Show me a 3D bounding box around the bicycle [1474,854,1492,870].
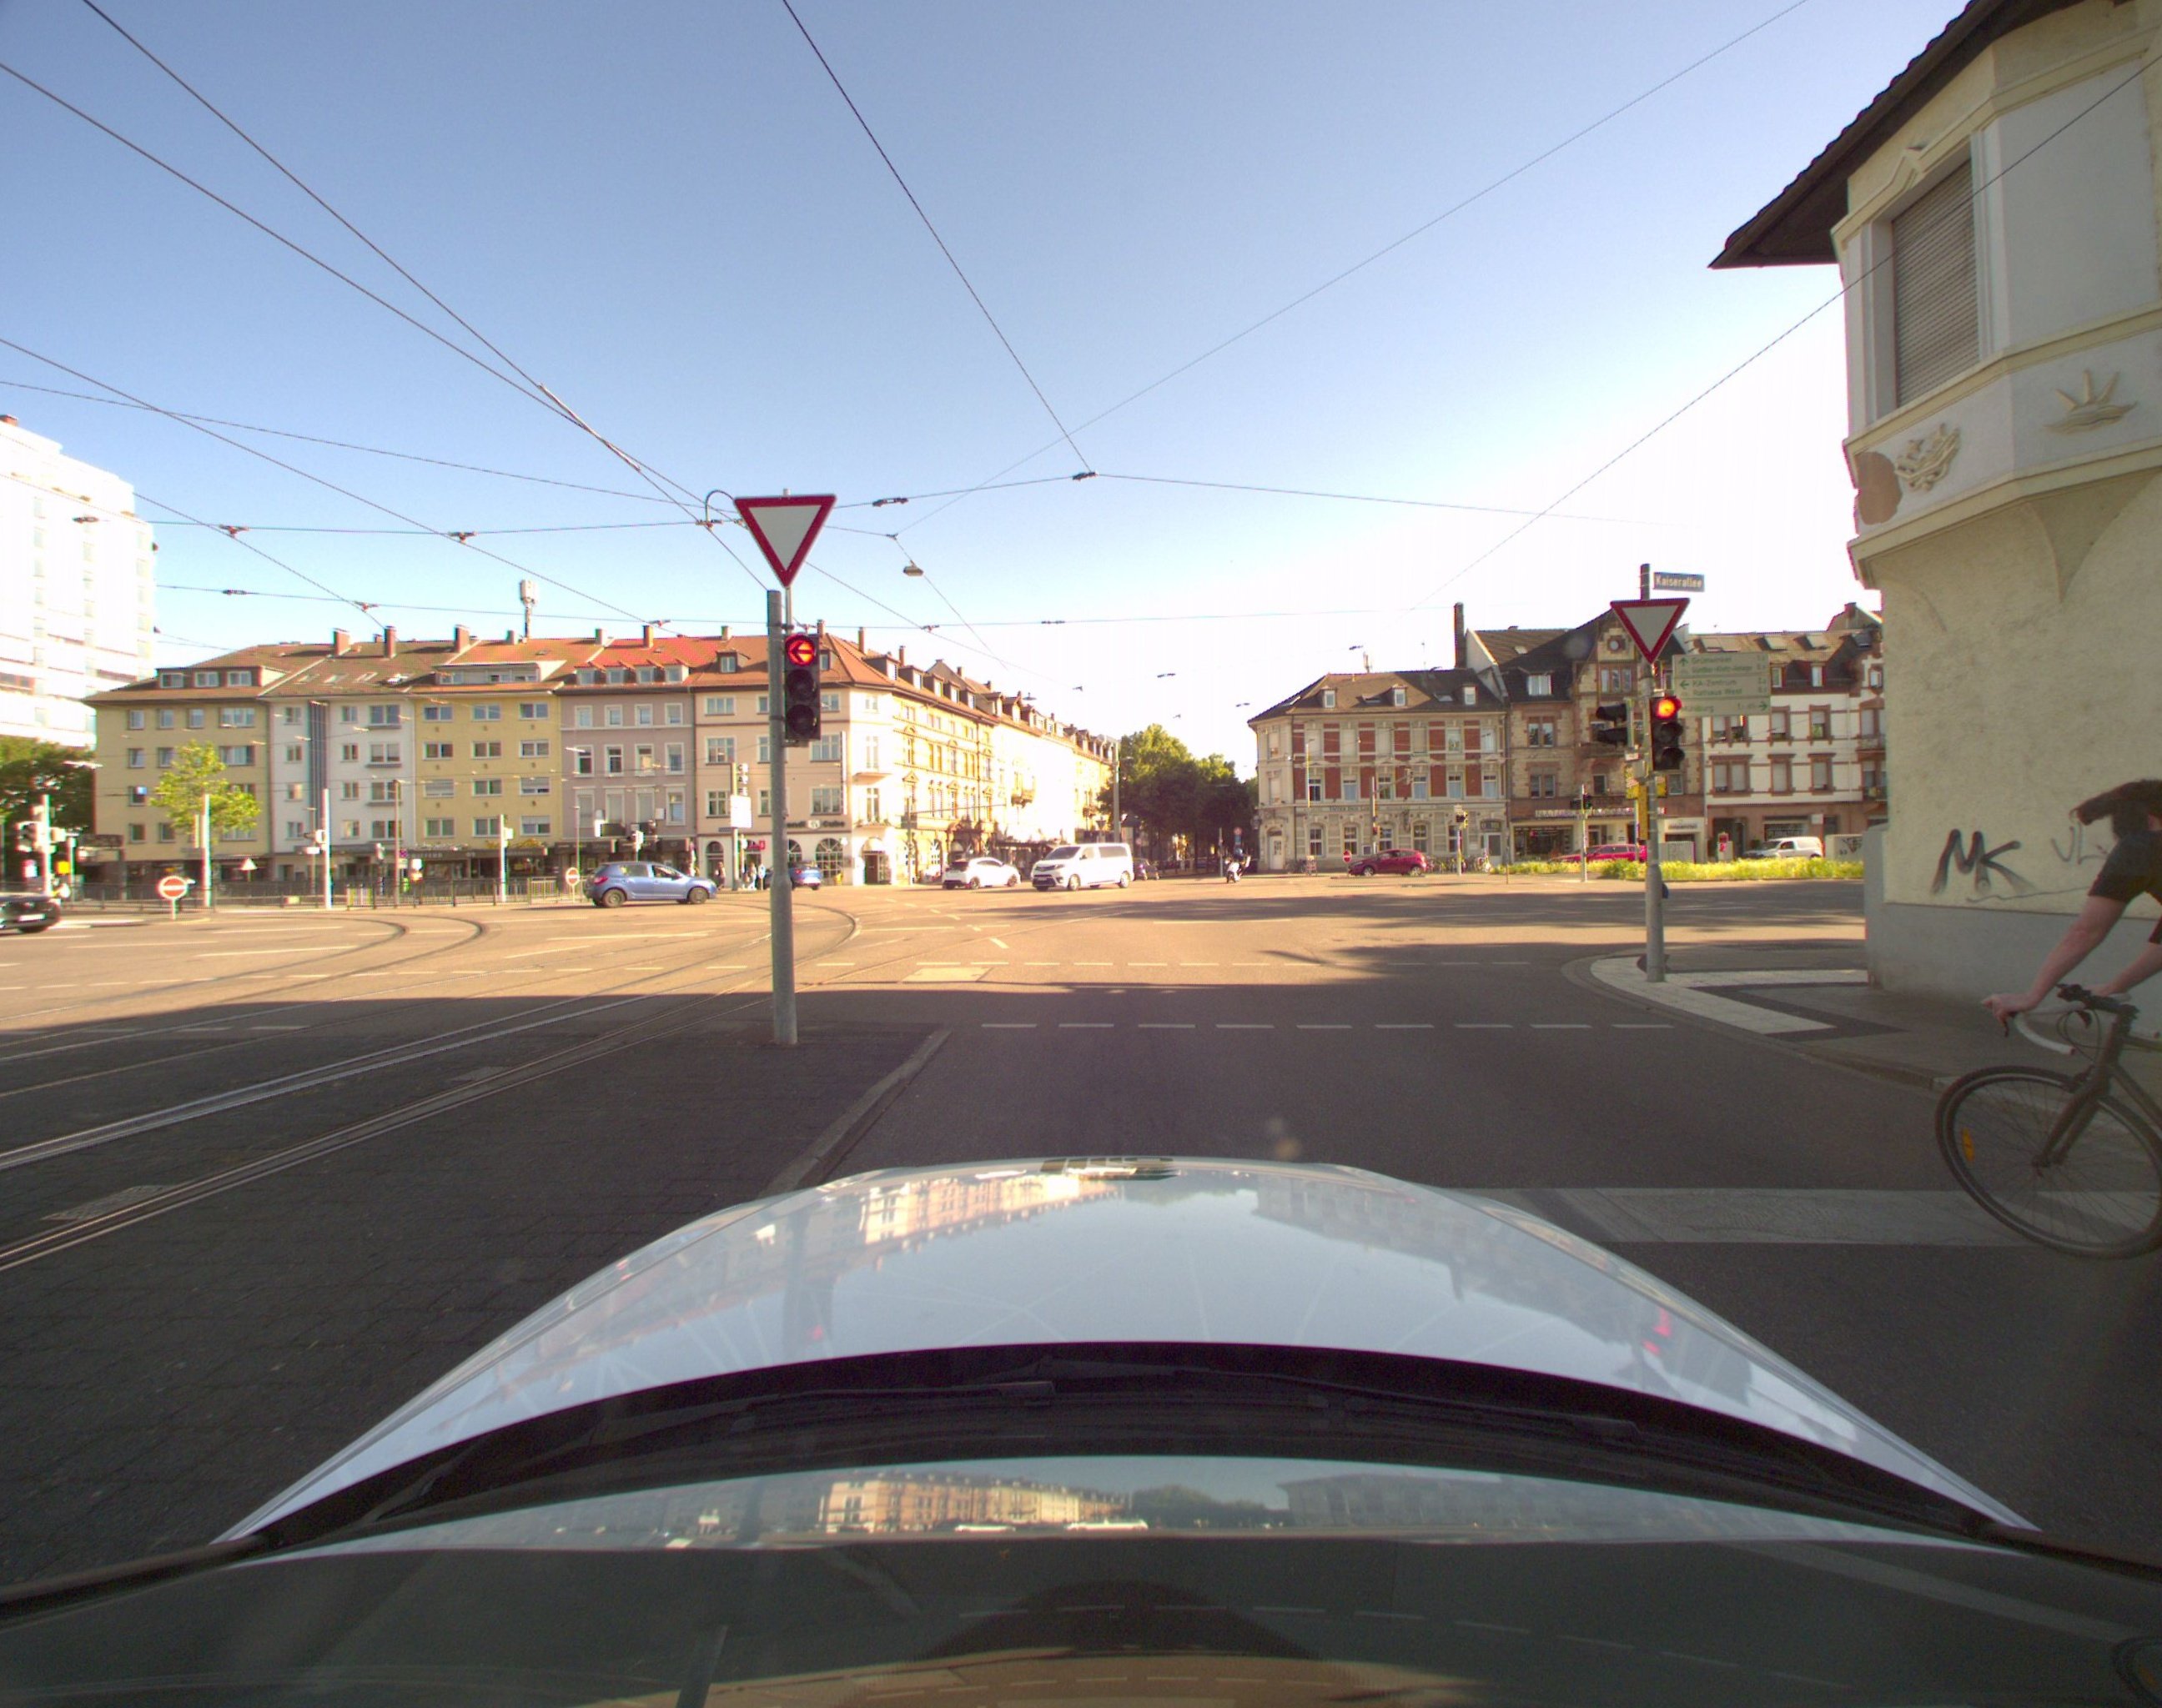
[{"bbox_3d":[26.022,0.530,52.710,0.785,1.016,2.221,-1,-1,20],"label":"bicycle"}]

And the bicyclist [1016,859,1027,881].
[{"bbox_3d":[-4.785,1.270,65.368,0.561,1.804,0.918,-1,-1,17],"label":"bicyclist"}]

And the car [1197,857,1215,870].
[{"bbox_3d":[17.872,1.345,116.386,1.978,1.684,4.018,-1,-1,17],"label":"car"}]

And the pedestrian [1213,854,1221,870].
[{"bbox_3d":[17.414,1.071,104.383,0.941,2.014,0.826,0,-1,-1],"label":"pedestrian"}]

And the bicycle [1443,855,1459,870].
[{"bbox_3d":[24.043,0.560,52.984,0.758,0.983,2.221,-1,-1,20],"label":"bicycle"}]

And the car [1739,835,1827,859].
[{"bbox_3d":[45.182,-0.445,52.452,3.961,1.438,1.874,0,-1,5],"label":"car"}]

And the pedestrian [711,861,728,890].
[{"bbox_3d":[-20.689,1.234,46.564,0.580,1.648,0.840,0,-1,1],"label":"pedestrian"}]

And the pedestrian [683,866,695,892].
[{"bbox_3d":[-21.973,1.395,45.646,0.401,1.419,0.625,0,-1,-4],"label":"pedestrian"}]

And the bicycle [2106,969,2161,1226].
[{"bbox_3d":[4.457,0.959,2.460,0.501,0.983,1.783,0,-1,2],"label":"bicycle"}]

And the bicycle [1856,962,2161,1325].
[{"bbox_3d":[3.586,0.961,2.640,0.480,0.991,1.783,0,-1,2],"label":"bicycle"}]

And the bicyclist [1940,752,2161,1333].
[{"bbox_3d":[3.582,0.573,2.643,0.587,1.767,0.936,0,-1,2],"label":"bicyclist"}]

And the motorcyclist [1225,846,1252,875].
[{"bbox_3d":[7.183,0.311,37.140,1.023,1.300,0.780,0,-1,-42],"label":"motorcyclist"}]

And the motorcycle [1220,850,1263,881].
[{"bbox_3d":[7.335,0.512,37.091,2.154,1.333,0.787,0,-1,-42],"label":"motorcycle"}]

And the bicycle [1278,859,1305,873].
[{"bbox_3d":[14.704,0.826,56.934,1.789,0.963,0.606,-1,-1,16],"label":"bicycle"}]

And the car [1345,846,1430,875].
[{"bbox_3d":[15.890,0.339,42.330,3.854,1.426,1.596,-1,0,2],"label":"car"}]

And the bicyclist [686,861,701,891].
[{"bbox_3d":[-23.404,1.341,49.203,0.618,1.790,0.616,0,-1,7],"label":"bicyclist"}]

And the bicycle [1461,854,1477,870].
[{"bbox_3d":[25.174,0.538,52.861,0.758,1.007,2.231,-1,-1,20],"label":"bicycle"}]

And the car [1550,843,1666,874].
[{"bbox_3d":[27.237,0.206,42.173,4.839,1.469,1.805,-1,1,2],"label":"car"}]

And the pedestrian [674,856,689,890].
[{"bbox_3d":[-21.320,1.010,43.488,0.527,1.823,0.675,0,-1,-7],"label":"pedestrian"}]

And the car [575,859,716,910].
[{"bbox_3d":[-14.755,0.999,27.680,3.940,1.504,1.769,-1,-1,-40],"label":"car"}]

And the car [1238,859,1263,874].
[{"bbox_3d":[17.139,1.250,82.245,1.741,1.556,4.021,-1,-1,22],"label":"car"}]

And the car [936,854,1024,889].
[{"bbox_3d":[-4.730,0.787,38.598,1.874,1.454,4.034,-2,1,36],"label":"car"}]

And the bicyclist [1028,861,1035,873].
[{"bbox_3d":[-4.214,1.091,69.737,0.469,1.040,0.540,-1,-1,17],"label":"bicyclist"}]

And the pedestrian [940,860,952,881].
[{"bbox_3d":[-10.482,1.271,63.271,0.562,1.642,0.797,-1,-1,25],"label":"pedestrian"}]

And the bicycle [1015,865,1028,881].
[{"bbox_3d":[-4.764,1.539,65.398,0.561,1.254,1.564,-1,-1,17],"label":"bicycle"}]

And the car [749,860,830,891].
[{"bbox_3d":[-15.470,1.121,43.164,4.145,1.575,1.843,-1,0,33],"label":"car"}]

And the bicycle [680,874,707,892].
[{"bbox_3d":[-23.404,1.736,49.180,0.618,1.030,1.758,0,-1,7],"label":"bicycle"}]

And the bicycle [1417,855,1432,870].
[{"bbox_3d":[22.477,0.574,53.312,0.758,0.963,2.221,-1,-1,20],"label":"bicycle"}]

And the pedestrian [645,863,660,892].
[{"bbox_3d":[-22.514,1.234,42.780,0.489,1.492,0.556,0,-1,1],"label":"pedestrian"}]

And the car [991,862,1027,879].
[{"bbox_3d":[-6.061,1.423,69.182,1.647,1.374,3.909,-1,-1,17],"label":"car"}]

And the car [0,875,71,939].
[{"bbox_3d":[-29.691,1.446,21.152,4.427,1.602,1.873,-2,0,-2],"label":"car"}]

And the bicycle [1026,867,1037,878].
[{"bbox_3d":[-4.256,1.569,69.569,0.469,0.922,1.458,-1,-1,17],"label":"bicycle"}]

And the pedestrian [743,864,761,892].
[{"bbox_3d":[-18.800,1.385,46.568,0.666,1.594,0.815,0,-1,1],"label":"pedestrian"}]

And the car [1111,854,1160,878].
[{"bbox_3d":[3.506,0.757,51.503,1.809,1.403,4.022,-1,0,24],"label":"car"}]

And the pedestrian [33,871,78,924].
[{"bbox_3d":[-31.730,1.330,25.199,0.770,1.609,0.605,0,-1,-44],"label":"pedestrian"}]

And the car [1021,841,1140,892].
[{"bbox_3d":[0.065,0.454,33.681,1.974,1.854,5.249,-1,1,40],"label":"car"}]

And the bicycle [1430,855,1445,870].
[{"bbox_3d":[23.256,0.567,53.108,0.758,0.968,2.221,-1,-1,20],"label":"bicycle"}]
